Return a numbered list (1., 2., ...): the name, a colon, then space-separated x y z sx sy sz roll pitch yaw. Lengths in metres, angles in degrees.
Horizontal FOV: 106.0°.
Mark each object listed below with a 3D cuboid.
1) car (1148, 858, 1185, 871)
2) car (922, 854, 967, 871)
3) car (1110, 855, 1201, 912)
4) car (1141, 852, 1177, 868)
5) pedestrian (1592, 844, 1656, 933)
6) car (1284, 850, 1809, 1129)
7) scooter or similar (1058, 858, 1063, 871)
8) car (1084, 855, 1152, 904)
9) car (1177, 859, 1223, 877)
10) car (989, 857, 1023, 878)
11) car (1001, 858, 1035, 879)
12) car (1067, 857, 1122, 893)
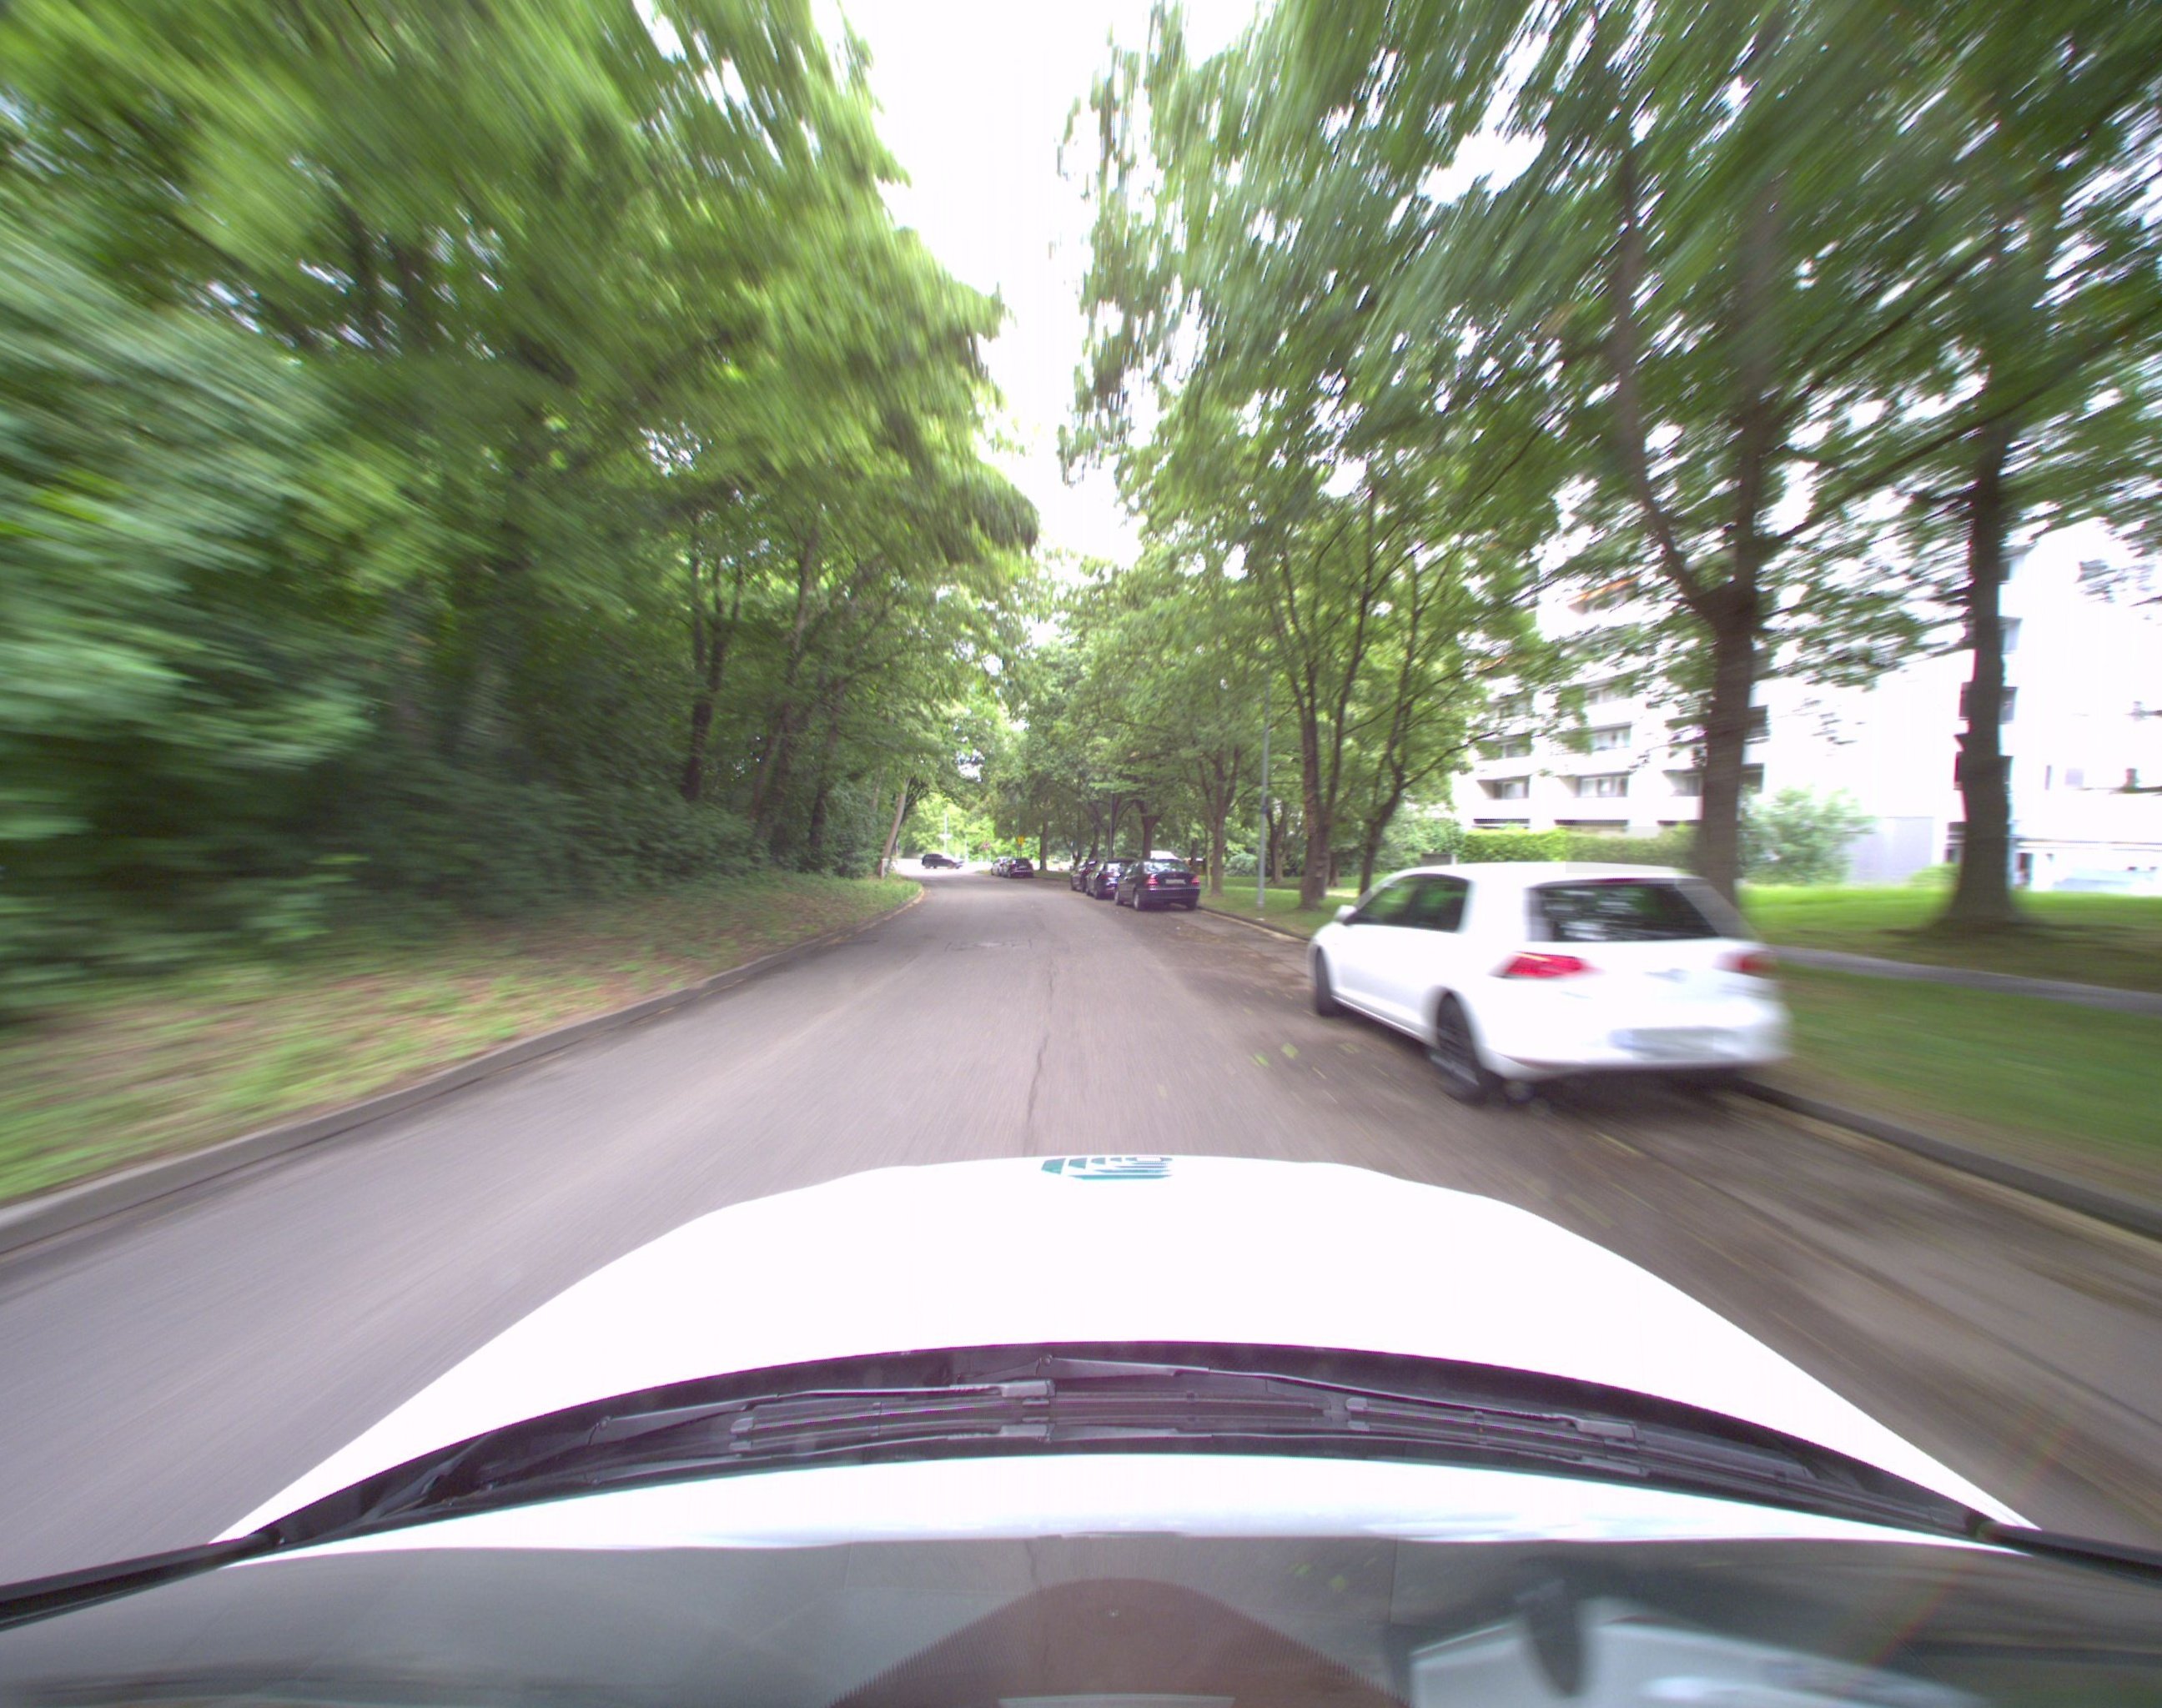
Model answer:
1. car: 10.603 1.300 101.112 4.209 1.499 1.793 0 0 -12
2. car: -14.219 0.867 84.847 4.188 1.685 1.807 0 0 17
3. car: 2.043 0.773 23.419 1.589 1.465 4.302 0 0 -9
4. car: 9.990 0.732 104.049 4.209 2.013 1.992 0 0 -12
5. pedestrian: 10.407 0.642 15.642 0.581 1.652 0.869 0 0 -12
6. car: 3.033 0.723 6.429 1.684 1.482 4.102 0 0 -3
7. scooter or similar: -2.082 1.046 82.415 0.283 1.286 1.102 1 0 -14
8. car: 1.251 0.861 29.696 1.910 1.612 4.726 0 0 -5
9. car: 12.552 1.506 85.978 4.394 1.848 1.827 1 0 -8
10. car: -5.941 1.044 64.382 1.780 1.522 3.755 0 0 -20
11. car: -4.706 1.038 60.165 1.777 1.522 4.162 0 0 -15
12. car: 0.522 0.853 35.393 1.682 1.464 3.884 0 0 -10
